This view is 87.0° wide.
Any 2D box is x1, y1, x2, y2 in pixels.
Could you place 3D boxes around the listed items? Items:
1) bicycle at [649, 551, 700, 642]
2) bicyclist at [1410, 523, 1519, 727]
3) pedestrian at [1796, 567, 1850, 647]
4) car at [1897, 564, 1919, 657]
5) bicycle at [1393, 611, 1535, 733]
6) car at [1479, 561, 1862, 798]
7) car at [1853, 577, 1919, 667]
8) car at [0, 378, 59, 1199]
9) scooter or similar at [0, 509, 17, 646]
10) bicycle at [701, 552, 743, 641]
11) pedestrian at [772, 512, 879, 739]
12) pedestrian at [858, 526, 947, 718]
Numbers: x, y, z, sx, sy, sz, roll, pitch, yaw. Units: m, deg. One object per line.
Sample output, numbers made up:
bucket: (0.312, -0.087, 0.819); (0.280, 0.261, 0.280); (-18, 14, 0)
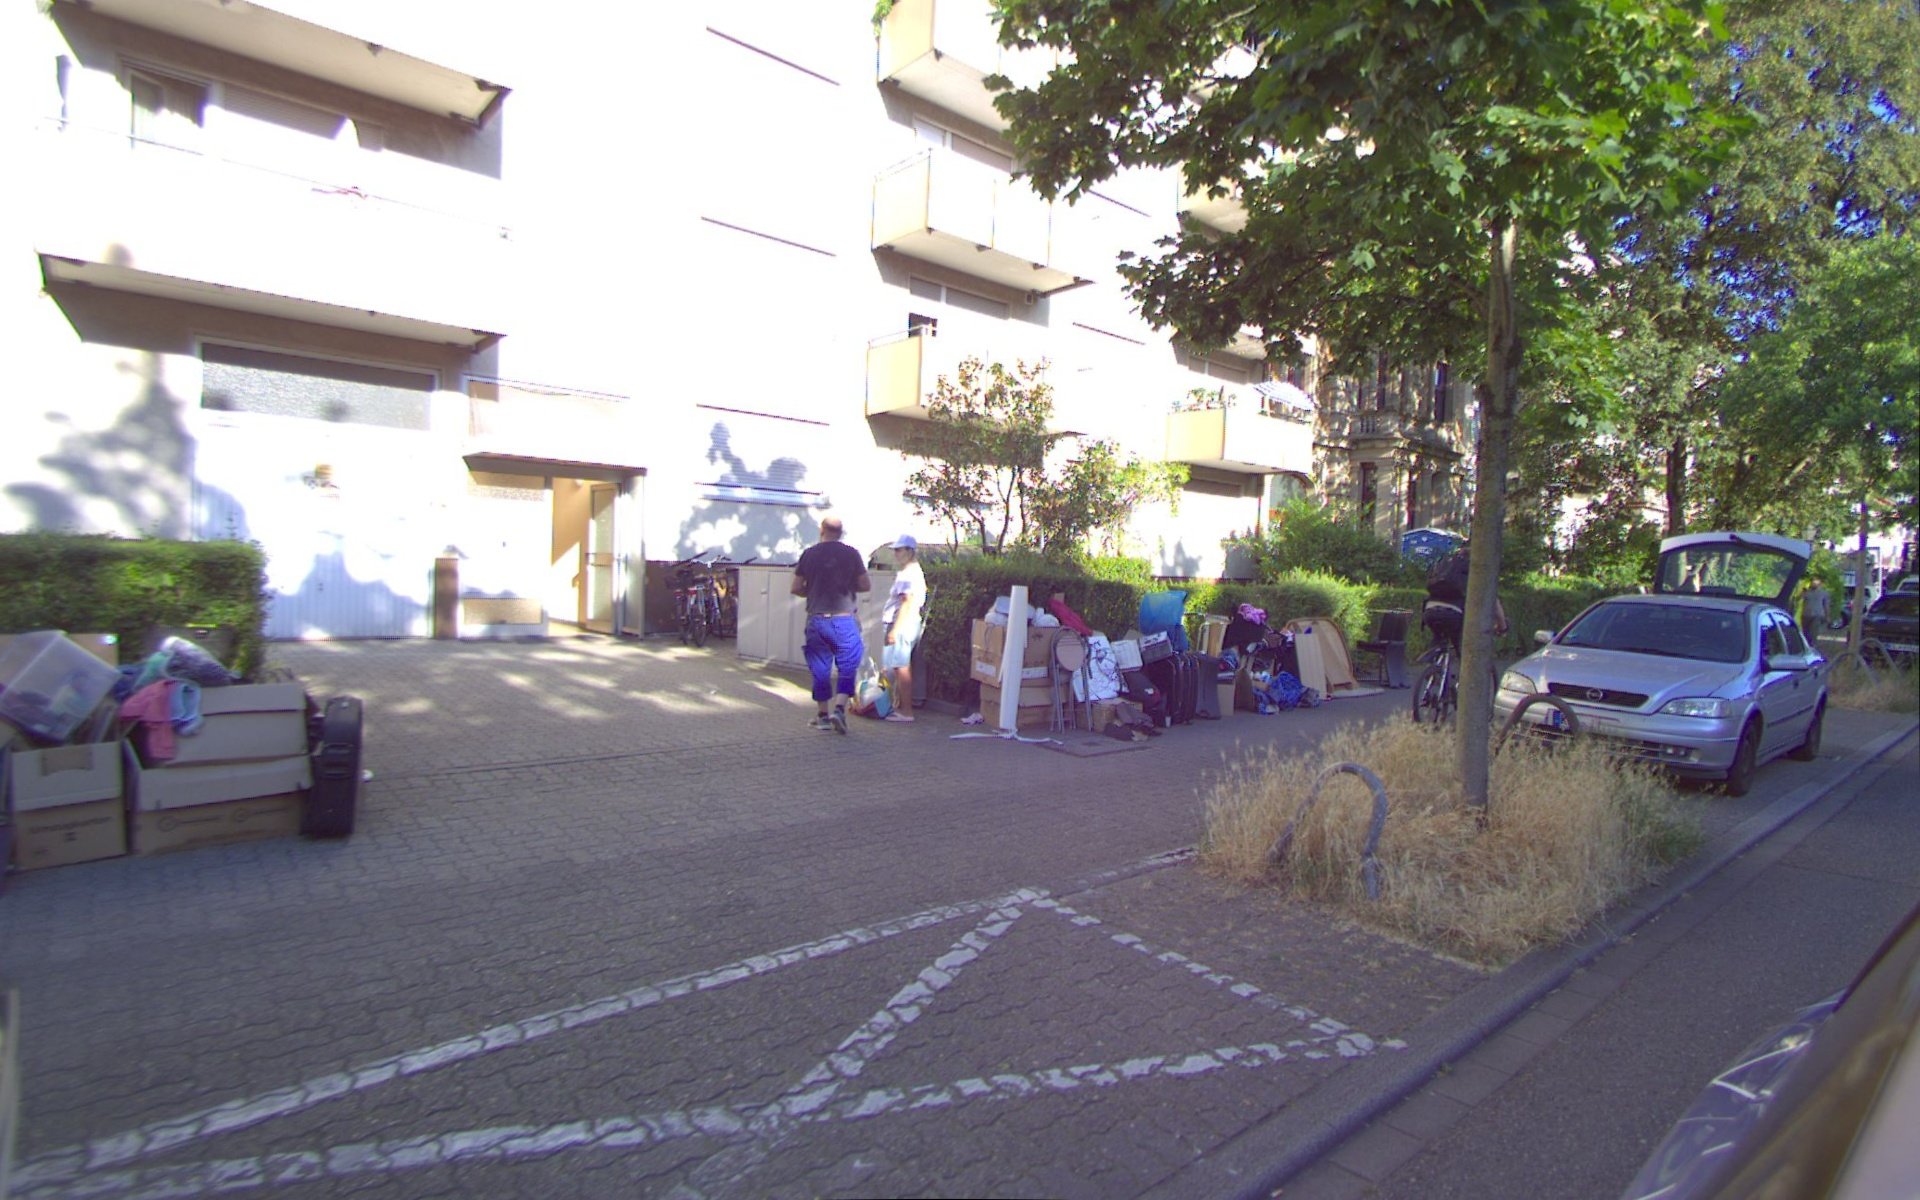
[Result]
bicycle: (-3.952, -0.093, 14.102); (0.507, 1.154, 2.210); (1, 2, -12)
bicyclist: (4.703, 0.210, 9.432); (0.837, 1.811, 0.582); (0, 2, -41)
pedestrian: (20.151, 0.145, 23.632); (0.821, 1.795, 1.071); (3, 2, 45)
car: (24.109, 0.254, 24.340); (4.562, 2.129, 1.906); (0, 2, -43)
bicycle: (4.741, 0.628, 9.464); (1.799, 0.999, 0.517); (0, 2, -41)
car: (6.278, 0.498, 8.752); (4.194, 1.498, 1.712); (0, 4, -42)
car: (19.724, 0.438, 20.496); (4.237, 1.622, 1.860); (0, 5, -42)
car: (-2.969, 0.539, 0.342); (3.944, 1.600, 1.860); (0, 4, -42)
scooter or similar: (-9.418, -0.223, 9.607); (0.657, 1.288, 0.616); (0, 2, -41)
bicycle: (-3.366, -0.093, 14.322); (0.507, 1.154, 2.210); (1, 2, -13)
pedestrian: (-1.023, 0.178, 7.831); (0.743, 1.660, 0.696); (2, 2, -4)
pedestrian: (-0.494, 0.172, 8.558); (0.682, 1.559, 0.594); (1, 2, -4)
